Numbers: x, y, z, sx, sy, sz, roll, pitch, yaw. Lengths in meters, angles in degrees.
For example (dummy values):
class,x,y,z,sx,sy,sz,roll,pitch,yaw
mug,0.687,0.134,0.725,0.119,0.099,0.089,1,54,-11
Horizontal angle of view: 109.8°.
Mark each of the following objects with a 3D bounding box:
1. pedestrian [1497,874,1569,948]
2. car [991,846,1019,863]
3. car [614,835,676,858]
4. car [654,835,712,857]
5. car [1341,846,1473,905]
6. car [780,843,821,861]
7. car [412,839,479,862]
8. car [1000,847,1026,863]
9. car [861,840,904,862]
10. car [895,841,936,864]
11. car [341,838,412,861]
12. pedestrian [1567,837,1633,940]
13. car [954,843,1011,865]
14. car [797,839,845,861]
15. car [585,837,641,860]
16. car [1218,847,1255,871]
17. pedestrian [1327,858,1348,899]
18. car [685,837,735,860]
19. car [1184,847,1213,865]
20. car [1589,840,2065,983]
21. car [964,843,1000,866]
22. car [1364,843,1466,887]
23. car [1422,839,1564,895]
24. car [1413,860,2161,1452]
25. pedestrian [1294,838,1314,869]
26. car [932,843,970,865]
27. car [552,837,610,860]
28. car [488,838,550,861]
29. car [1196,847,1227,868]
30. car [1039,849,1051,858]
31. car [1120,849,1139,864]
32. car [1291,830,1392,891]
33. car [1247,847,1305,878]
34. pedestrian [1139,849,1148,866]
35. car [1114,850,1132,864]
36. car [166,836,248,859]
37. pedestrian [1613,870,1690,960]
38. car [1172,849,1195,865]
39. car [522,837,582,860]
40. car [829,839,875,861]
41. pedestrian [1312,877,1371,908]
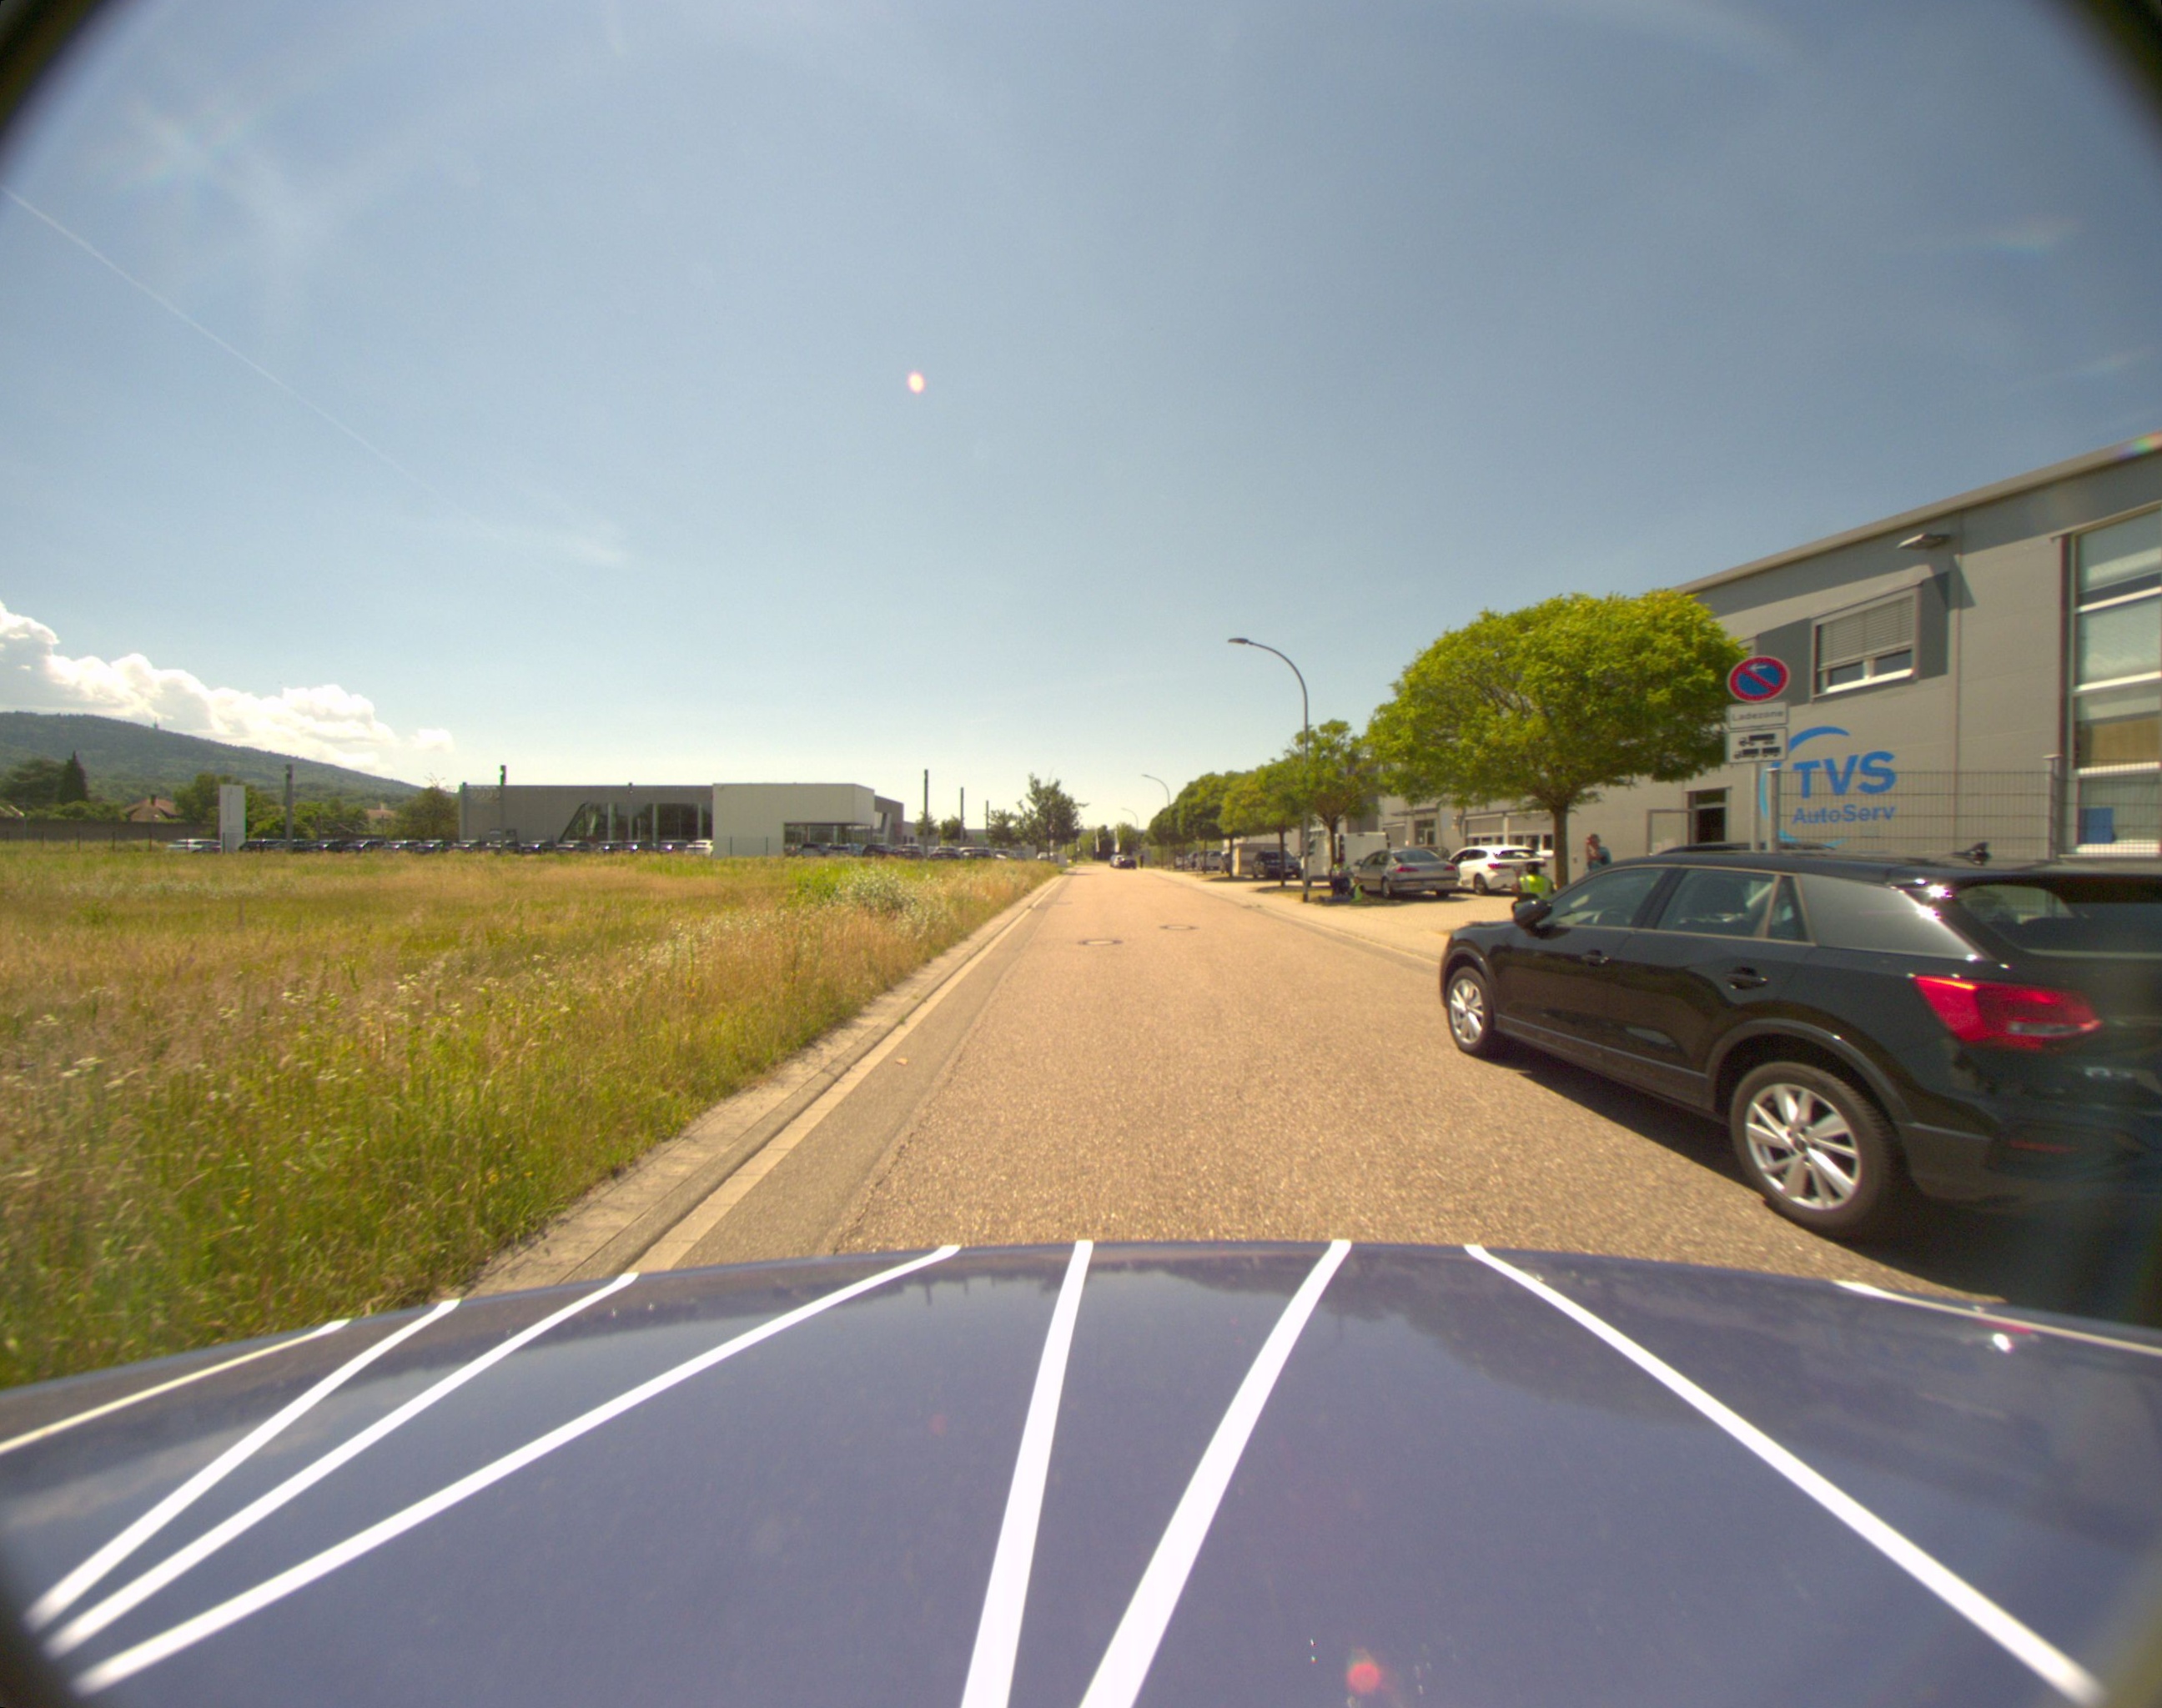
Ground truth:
class,x,y,z,sx,sy,sz,roll,pitch,yaw
pedestrian,7.180,0.898,12.096,0.752,1.092,0.646,-3,1,5
car,-7.235,0.059,72.569,2.030,1.564,4.779,2,0,1
car,-35.025,-0.613,61.211,2.029,1.715,4.809,2,0,2
car,-32.147,-0.618,61.514,2.029,1.715,4.809,2,0,2
car,9.591,0.555,22.844,1.931,1.432,4.840,-3,1,2
car,-26.338,-0.210,71.597,2.030,1.580,4.779,0,0,1
car,-51.348,-0.275,61.494,1.998,1.774,4.000,1,1,0
car,-6.944,0.074,77.915,2.030,1.505,5.239,3,0,1
car,-15.891,-0.249,61.060,2.029,1.670,4.809,2,0,2
car,-13.191,-0.150,60.885,2.029,1.715,4.809,2,0,2
car,-56.904,-0.367,61.480,1.998,1.774,4.000,1,1,0
pedestrian,8.335,0.536,12.223,0.507,1.586,0.753,-3,1,3
car,-8.391,-0.004,65.192,4.539,1.683,2.031,2,0,2
car,-20.966,-0.323,61.454,2.029,1.644,4.809,2,0,2
car,-37.588,-0.450,61.099,1.998,1.774,4.000,1,1,0
car,10.124,0.317,49.681,1.770,1.445,3.840,-1,0,2
pedestrian,7.547,0.724,22.353,0.479,1.144,0.555,-3,3,11
car,-29.697,-0.453,60.921,1.998,1.774,4.000,1,1,0
car,10.119,0.201,65.423,1.687,1.491,3.703,0,0,-4
car,9.599,0.613,10.516,1.932,1.456,4.691,-2,0,0
car,-7.915,0.026,61.120,2.029,1.683,5.109,2,0,2
car,12.355,0.385,28.384,1.932,1.432,4.086,-2,0,-1
car,12.265,0.355,23.010,1.931,1.456,4.465,-2,0,2
car,3.716,0.840,4.148,1.932,1.558,4.189,1,0,0
pedestrian,14.036,-0.036,47.776,0.840,1.961,0.967,-1,1,41
car,-10.394,0.002,61.062,2.029,1.601,4.809,2,0,2
car,-40.186,-0.425,61.205,1.998,1.774,4.000,1,1,0
car,-45.196,-0.393,61.222,1.998,1.774,4.000,1,1,0
car,10.317,0.235,60.216,1.770,1.564,4.539,-1,0,1
car,-6.232,-0.121,133.239,1.824,1.519,4.944,2,0,0
car,5.102,0.268,80.290,1.829,1.491,4.525,1,0,1
car,9.655,0.228,28.637,1.842,2.007,5.125,-2,0,-1
car,9.999,0.417,39.299,1.770,1.445,4.714,-2,0,1
pedestrian,6.644,0.387,80.798,0.746,1.791,1.135,-2,0,2
car,4.779,0.359,86.346,1.829,1.491,4.259,1,0,1
car,-70.732,-0.511,61.598,1.998,1.774,4.000,1,1,0
pedestrian,8.041,0.838,10.731,0.507,1.185,0.753,-3,1,3
car,10.330,0.249,76.626,1.828,1.491,4.328,-2,0,3
car,-42.585,-0.413,61.263,1.998,1.774,4.000,1,1,0
car,-18.441,-0.287,61.342,2.029,1.644,4.809,2,0,2
pedestrian,7.151,1.046,20.931,1.361,0.744,0.753,-3,1,3
